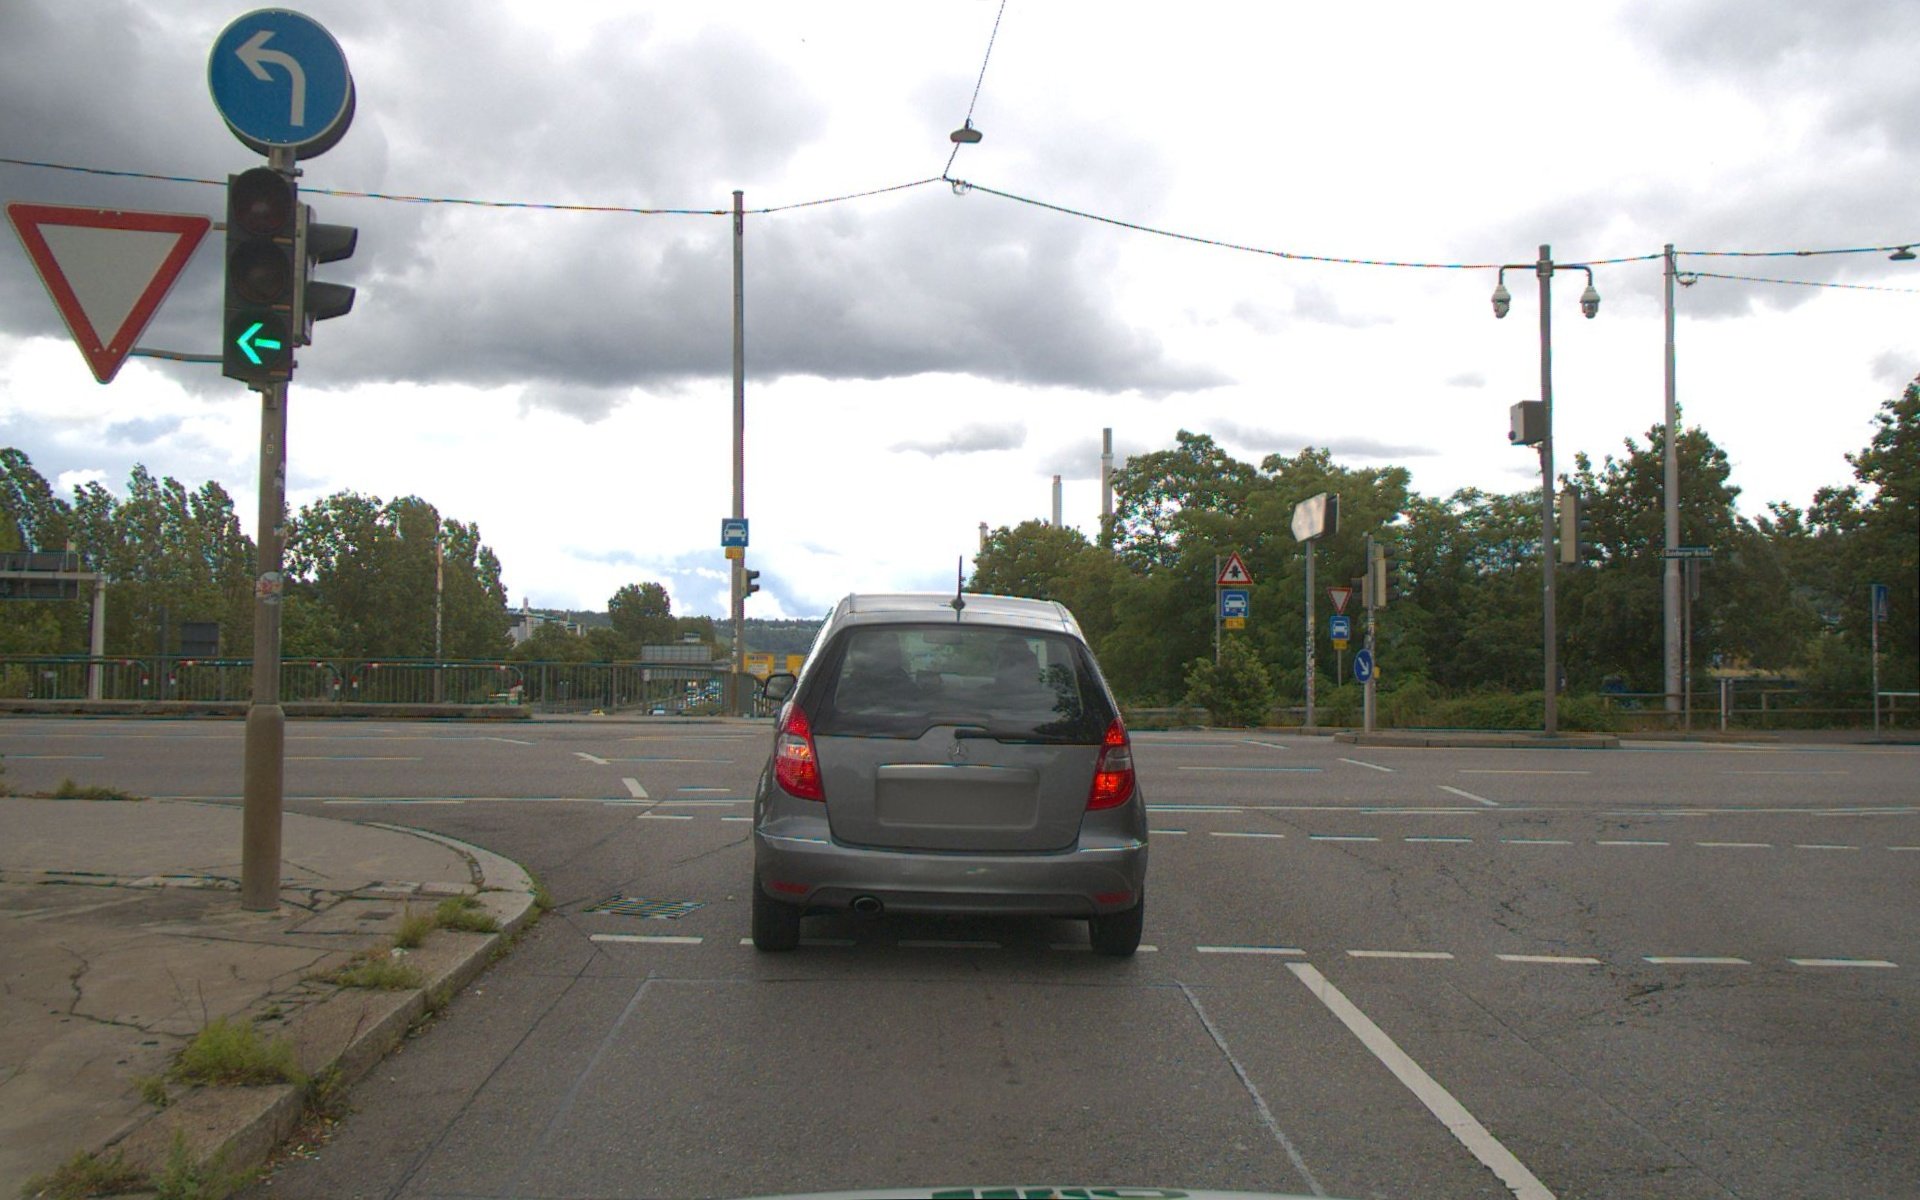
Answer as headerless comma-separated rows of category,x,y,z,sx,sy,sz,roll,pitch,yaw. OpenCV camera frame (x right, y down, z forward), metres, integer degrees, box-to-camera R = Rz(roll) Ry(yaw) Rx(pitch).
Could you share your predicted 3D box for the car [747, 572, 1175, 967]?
car,-0.038,0.714,8.602,1.710,1.578,3.869,1,-1,-1
